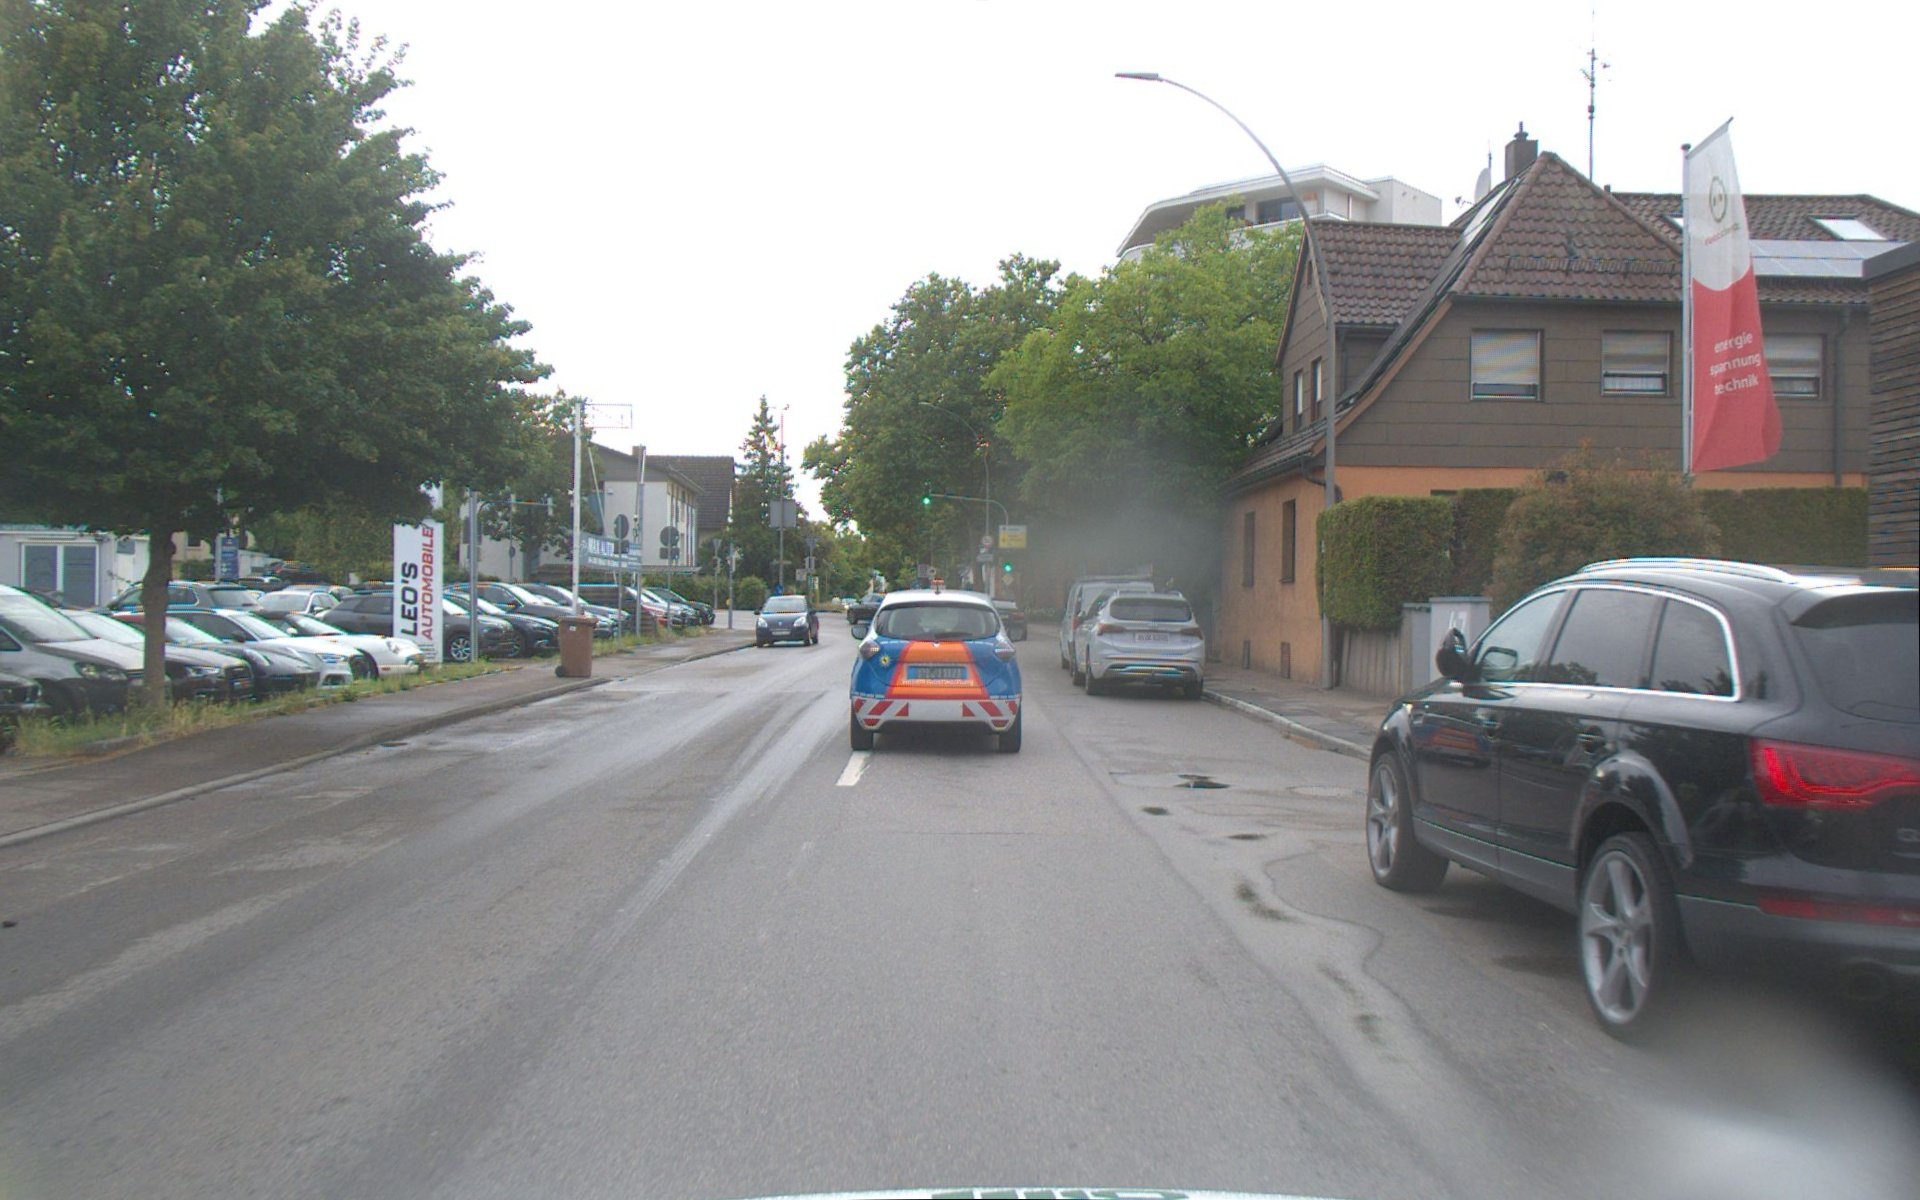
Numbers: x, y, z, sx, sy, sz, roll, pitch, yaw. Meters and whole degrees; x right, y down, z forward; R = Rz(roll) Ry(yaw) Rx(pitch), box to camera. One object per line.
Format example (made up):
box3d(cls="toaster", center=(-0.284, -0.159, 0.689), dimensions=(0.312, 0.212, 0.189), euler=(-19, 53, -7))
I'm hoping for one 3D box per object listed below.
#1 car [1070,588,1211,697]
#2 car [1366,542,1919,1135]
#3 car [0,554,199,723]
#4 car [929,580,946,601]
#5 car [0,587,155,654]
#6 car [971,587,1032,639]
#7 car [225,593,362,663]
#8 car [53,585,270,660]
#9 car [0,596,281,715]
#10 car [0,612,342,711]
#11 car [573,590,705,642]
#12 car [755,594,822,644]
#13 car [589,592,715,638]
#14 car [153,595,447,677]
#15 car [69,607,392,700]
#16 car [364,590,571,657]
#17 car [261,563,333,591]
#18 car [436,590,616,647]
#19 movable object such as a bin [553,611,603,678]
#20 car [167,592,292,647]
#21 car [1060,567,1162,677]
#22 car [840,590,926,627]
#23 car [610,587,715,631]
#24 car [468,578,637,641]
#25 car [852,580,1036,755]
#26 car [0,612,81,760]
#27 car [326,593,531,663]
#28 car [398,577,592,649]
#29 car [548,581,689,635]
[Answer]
box3d(cls="car", center=(2.960, 0.653, 28.010), dimensions=(1.828, 1.694, 4.319), euler=(1, 0, -1))
box3d(cls="car", center=(3.363, 0.655, 7.029), dimensions=(2.048, 1.691, 4.558), euler=(1, 1, -1))
box3d(cls="car", center=(-11.287, 0.413, 18.702), dimensions=(4.468, 1.821, 1.896), euler=(0, 0, -5))
box3d(cls="car", center=(-2.330, -0.955, 169.087), dimensions=(1.611, 2.052, 3.713), euler=(1, 1, -3))
box3d(cls="car", center=(-21.664, 0.485, 39.568), dimensions=(3.907, 1.557, 1.836), euler=(0, 0, -3))
box3d(cls="car", center=(1.426, 0.403, 55.562), dimensions=(1.952, 1.601, 4.002), euler=(1, 1, 2))
box3d(cls="car", center=(-15.878, 0.623, 39.583), dimensions=(1.657, 1.557, 4.000), euler=(-1, 0, 0))
box3d(cls="car", center=(-16.909, 0.450, 35.082), dimensions=(3.903, 1.525, 1.938), euler=(0, 0, 18))
box3d(cls="car", center=(-11.341, 0.678, 21.232), dimensions=(4.468, 1.443, 1.896), euler=(0, 0, -5))
box3d(cls="car", center=(-11.473, 0.851, 23.759), dimensions=(4.465, 1.332, 1.889), euler=(0, 0, -1))
box3d(cls="car", center=(-10.444, 0.517, 53.977), dimensions=(3.904, 1.571, 1.804), euler=(1, 1, 1))
box3d(cls="car", center=(-5.167, 0.554, 50.134), dimensions=(1.593, 1.458, 3.684), euler=(0, 0, 1))
box3d(cls="car", center=(-10.504, 0.509, 56.521), dimensions=(3.904, 1.466, 1.804), euler=(1, 1, 1))
box3d(cls="car", center=(-11.343, 0.598, 28.617), dimensions=(4.361, 1.355, 1.771), euler=(0, 0, -1))
box3d(cls="car", center=(-11.522, 0.824, 26.345), dimensions=(4.287, 1.398, 1.889), euler=(0, 0, -1))
box3d(cls="car", center=(-11.484, 0.530, 38.770), dimensions=(4.258, 1.489, 1.941), euler=(0, 0, 0))
box3d(cls="car", center=(-43.653, -1.532, 109.021), dimensions=(1.960, 1.753, 3.984), euler=(2, 1, 36))
box3d(cls="car", center=(-11.514, 0.473, 44.045), dimensions=(4.258, 1.457, 1.959), euler=(0, 0, 0))
box3d(cls="movable object such as a bin", center=(-6.730, 0.779, 29.172), dimensions=(0.693, 1.149, 0.735), euler=(1, 0, -1))
box3d(cls="car", center=(-20.027, 0.511, 45.502), dimensions=(1.657, 1.422, 4.000), euler=(-1, 0, 0))
box3d(cls="car", center=(3.035, 0.377, 34.052), dimensions=(1.741, 2.064, 4.755), euler=(1, 1, 2))
box3d(cls="car", center=(-3.415, 0.361, 72.727), dimensions=(1.782, 1.453, 3.944), euler=(0, 1, -39))
box3d(cls="car", center=(-11.373, 0.343, 63.310), dimensions=(3.875, 1.557, 1.618), euler=(1, 1, -11))
box3d(cls="car", center=(-11.411, 0.263, 46.547), dimensions=(4.258, 1.720, 1.959), euler=(0, 0, 0))
box3d(cls="car", center=(-0.176, 0.603, 17.488), dimensions=(1.710, 1.608, 4.000), euler=(0, 1, -1))
box3d(cls="car", center=(-11.151, 0.833, 16.459), dimensions=(3.835, 1.396, 1.760), euler=(0, 0, -5))
box3d(cls="car", center=(-11.631, 0.594, 36.361), dimensions=(3.905, 1.489, 1.839), euler=(0, 0, 0))
box3d(cls="car", center=(-11.588, 0.309, 41.445), dimensions=(4.258, 1.721, 2.058), euler=(0, 0, 0))
box3d(cls="car", center=(-10.485, 0.234, 50.887), dimensions=(3.904, 1.571, 1.804), euler=(1, 1, 1))
